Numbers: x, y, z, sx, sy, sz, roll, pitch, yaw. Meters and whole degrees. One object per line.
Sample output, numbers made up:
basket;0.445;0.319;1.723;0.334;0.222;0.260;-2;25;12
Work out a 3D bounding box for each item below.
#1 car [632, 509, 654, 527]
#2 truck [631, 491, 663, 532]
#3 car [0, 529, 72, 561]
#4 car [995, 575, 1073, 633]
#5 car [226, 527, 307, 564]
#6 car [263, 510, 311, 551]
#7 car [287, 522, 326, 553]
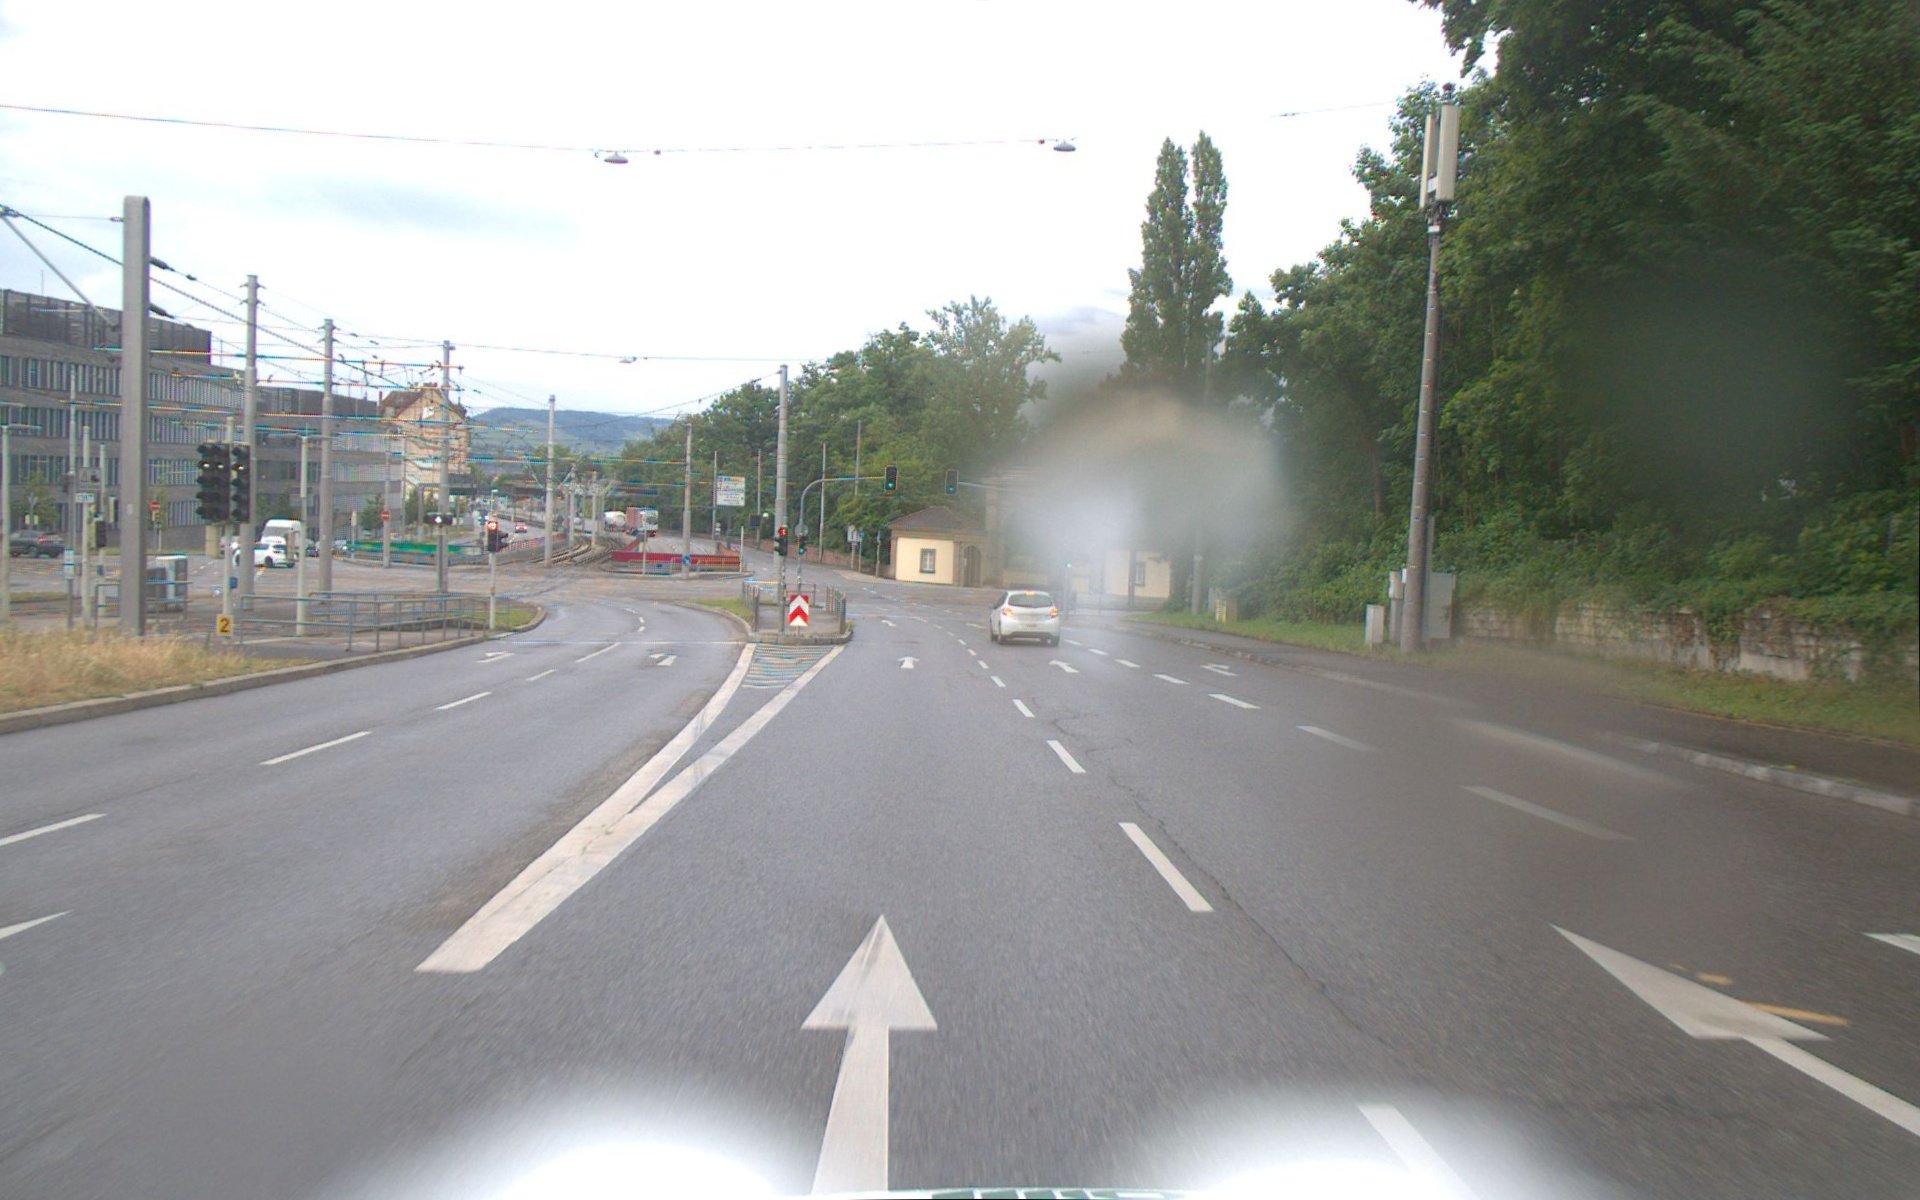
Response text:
car;-35.807;-9.240;186.646;1.963;1.904;3.980;0;3;-18
truck;-46.735;-13.180;246.811;3.410;5.495;11.994;0;0;-17
car;-57.548;-3.410;102.696;3.902;1.847;2.001;2;0;14
car;2.032;0.105;46.357;1.915;1.514;3.999;2;0;-1
car;-40.742;-3.186;97.223;3.902;2.049;2.001;2;0;14
car;-48.398;-4.961;118.976;1.957;2.881;5.706;0;2;-10
car;-51.087;-4.846;129.286;1.957;2.191;4.237;1;-1;-10
